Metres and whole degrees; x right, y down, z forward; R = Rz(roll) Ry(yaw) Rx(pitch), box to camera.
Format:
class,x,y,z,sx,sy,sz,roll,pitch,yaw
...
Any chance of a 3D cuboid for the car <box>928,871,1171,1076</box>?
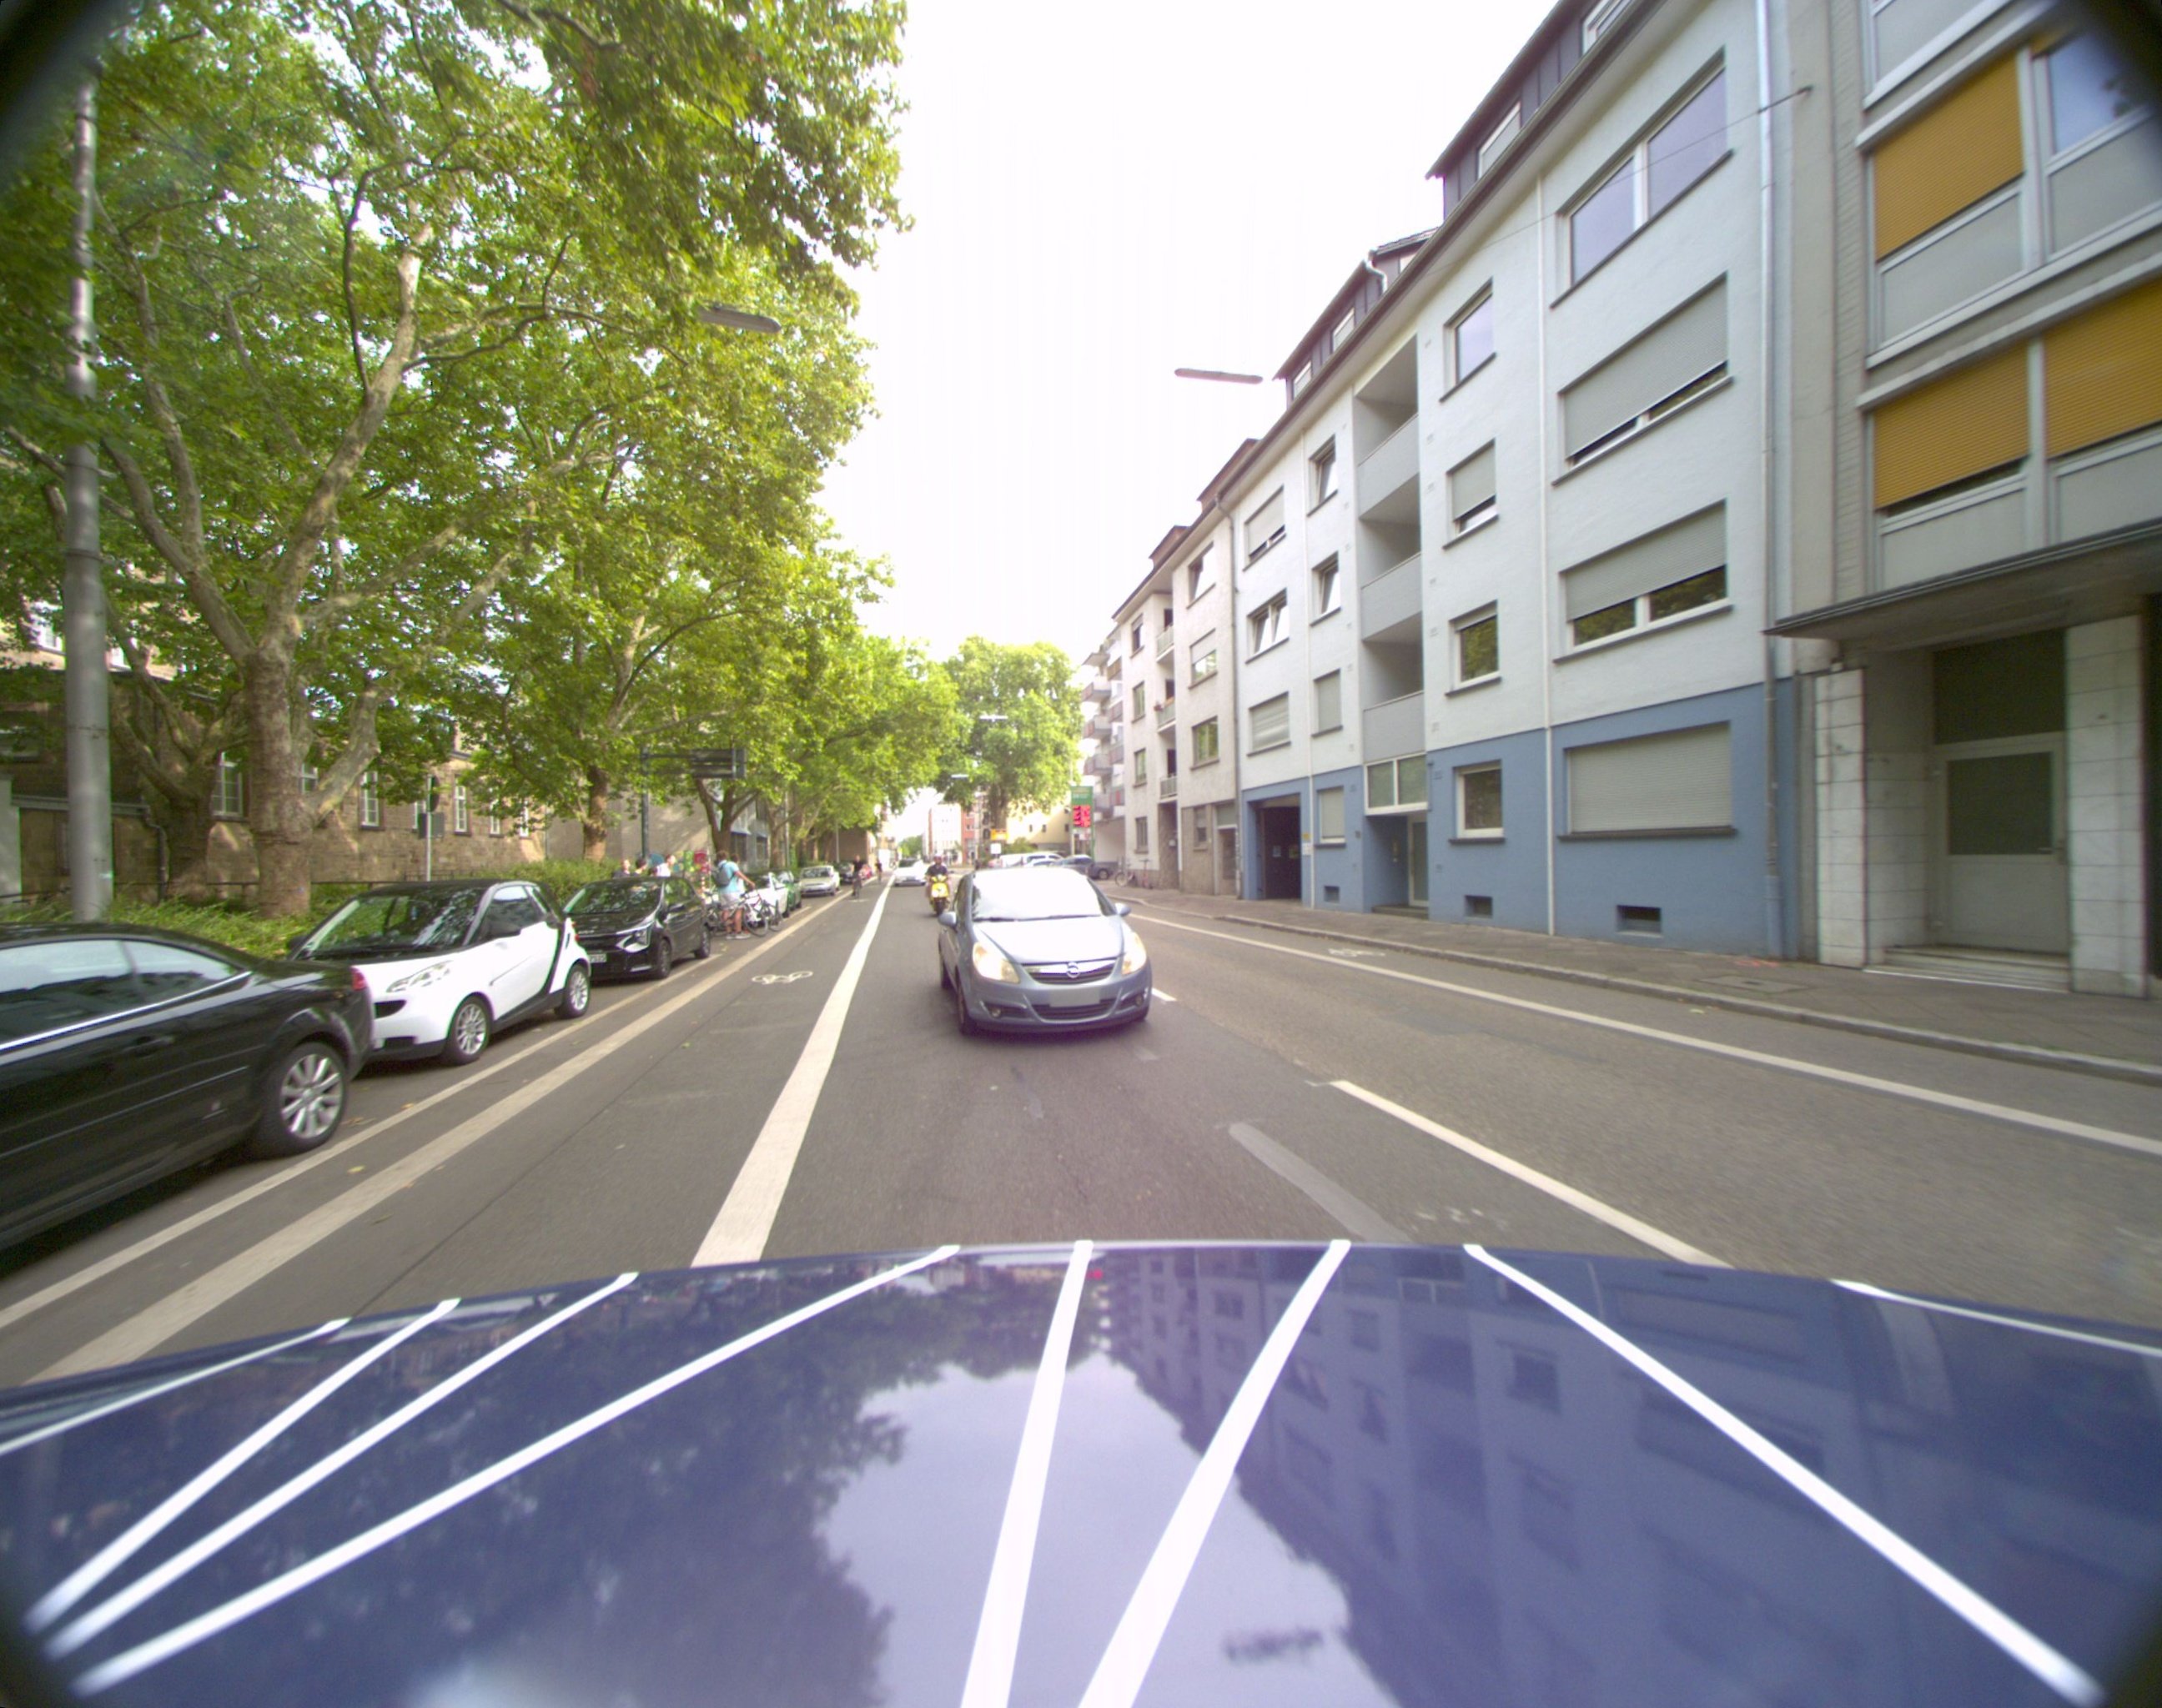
class,x,y,z,sx,sy,sz,roll,pitch,yaw
car,-0.625,0.955,8.008,1.719,1.412,4.248,-2,0,-14

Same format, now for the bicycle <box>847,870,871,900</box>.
class,x,y,z,sx,sy,sz,roll,pitch,yaw
bicycle,-9.389,1.276,32.178,0.764,1.162,1.947,-2,0,-13

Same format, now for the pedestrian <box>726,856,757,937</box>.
class,x,y,z,sx,sy,sz,roll,pitch,yaw
pedestrian,-7.979,0.985,17.848,0.522,1.834,0.743,-3,1,-28

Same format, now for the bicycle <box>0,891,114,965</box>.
class,x,y,z,sx,sy,sz,roll,pitch,yaw
bicycle,-16.850,1.176,12.117,1.681,1.111,0.603,0,0,-19

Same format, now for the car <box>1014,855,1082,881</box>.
class,x,y,z,sx,sy,sz,roll,pitch,yaw
car,-2.249,0.908,51.699,4.286,1.443,1.872,-4,1,-13

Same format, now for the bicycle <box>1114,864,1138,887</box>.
class,x,y,z,sx,sy,sz,roll,pitch,yaw
bicycle,1.993,0.952,33.964,0.599,0.945,1.661,-3,0,-13

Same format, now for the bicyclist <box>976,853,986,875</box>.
class,x,y,z,sx,sy,sz,roll,pitch,yaw
bicyclist,-8.310,0.826,63.340,0.654,1.800,1.044,-2,1,-13

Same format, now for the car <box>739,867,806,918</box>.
class,x,y,z,sx,sy,sz,roll,pitch,yaw
car,-10.389,1.241,25.820,1.593,1.441,3.800,-4,1,-15

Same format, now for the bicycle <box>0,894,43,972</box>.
class,x,y,z,sx,sy,sz,roll,pitch,yaw
bicycle,-16.466,1.171,11.158,1.451,1.111,0.468,0,0,-16

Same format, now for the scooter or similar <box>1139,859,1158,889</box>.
class,x,y,z,sx,sy,sz,roll,pitch,yaw
scooter or similar,2.782,0.819,31.373,0.351,1.214,1.200,-3,1,-13

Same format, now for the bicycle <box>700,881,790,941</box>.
class,x,y,z,sx,sy,sz,roll,pitch,yaw
bicycle,-7.771,1.294,17.617,1.797,1.210,0.552,-3,1,-30

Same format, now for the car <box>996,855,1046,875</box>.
class,x,y,z,sx,sy,sz,roll,pitch,yaw
car,-5.582,0.979,70.348,4.280,1.502,1.717,-4,1,-12

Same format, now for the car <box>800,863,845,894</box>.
class,x,y,z,sx,sy,sz,roll,pitch,yaw
car,-14.028,1.302,41.435,1.760,1.439,4.213,-3,1,-13

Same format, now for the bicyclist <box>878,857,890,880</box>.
class,x,y,z,sx,sy,sz,roll,pitch,yaw
bicyclist,-13.930,1.030,53.715,0.749,1.590,0.818,-2,1,-13

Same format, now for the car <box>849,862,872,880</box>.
class,x,y,z,sx,sy,sz,roll,pitch,yaw
car,-20.243,1.495,69.874,1.604,1.496,4.435,-3,1,-13

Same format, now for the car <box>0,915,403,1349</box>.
class,x,y,z,sx,sy,sz,roll,pitch,yaw
car,-4.907,1.155,2.836,1.704,1.417,4.416,-3,1,-16

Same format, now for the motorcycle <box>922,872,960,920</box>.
class,x,y,z,sx,sy,sz,roll,pitch,yaw
motorcycle,-3.935,1.129,21.217,0.905,1.190,2.627,-2,0,-12

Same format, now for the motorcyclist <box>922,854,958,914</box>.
class,x,y,z,sx,sy,sz,roll,pitch,yaw
motorcyclist,-3.938,0.827,21.219,0.905,1.608,0.690,-2,1,-13

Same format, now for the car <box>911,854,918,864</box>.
class,x,y,z,sx,sy,sz,roll,pitch,yaw
car,-47.493,1.415,216.601,2.001,2.546,4.793,-2,0,-13

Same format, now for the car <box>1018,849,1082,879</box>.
class,x,y,z,sx,sy,sz,roll,pitch,yaw
car,-2.244,0.681,54.467,4.226,1.837,1.922,-4,1,-13

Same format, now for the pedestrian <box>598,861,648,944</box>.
class,x,y,z,sx,sy,sz,roll,pitch,yaw
pedestrian,-10.530,1.097,17.481,0.723,1.844,0.703,-3,1,-13

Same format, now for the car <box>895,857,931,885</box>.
class,x,y,z,sx,sy,sz,roll,pitch,yaw
car,-10.354,1.018,46.619,2.002,1.556,4.545,-2,0,-13

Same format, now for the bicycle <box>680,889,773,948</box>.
class,x,y,z,sx,sy,sz,roll,pitch,yaw
bicycle,-7.597,1.358,16.355,1.742,1.099,0.551,-3,1,-24

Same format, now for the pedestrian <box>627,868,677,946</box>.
class,x,y,z,sx,sy,sz,roll,pitch,yaw
pedestrian,-9.475,1.144,16.809,0.723,1.648,0.654,-3,1,-13

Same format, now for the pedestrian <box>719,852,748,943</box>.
class,x,y,z,sx,sy,sz,roll,pitch,yaw
pedestrian,-7.601,0.942,16.630,0.477,1.923,0.743,-3,1,-24

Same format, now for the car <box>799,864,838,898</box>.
class,x,y,z,sx,sy,sz,roll,pitch,yaw
car,-12.757,1.285,37.103,1.649,1.439,3.877,-3,1,-18

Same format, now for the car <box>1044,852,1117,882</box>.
class,x,y,z,sx,sy,sz,roll,pitch,yaw
car,-0.037,0.792,47.439,4.165,1.505,1.835,-4,1,-13

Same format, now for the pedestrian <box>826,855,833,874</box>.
class,x,y,z,sx,sy,sz,roll,pitch,yaw
pedestrian,-23.752,0.992,71.733,0.503,1.775,0.527,2,0,-14

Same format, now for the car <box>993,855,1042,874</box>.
class,x,y,z,sx,sy,sz,roll,pitch,yaw
car,-6.053,0.977,72.347,4.377,1.540,1.731,-4,1,-12

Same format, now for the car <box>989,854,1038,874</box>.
class,x,y,z,sx,sy,sz,roll,pitch,yaw
car,-6.654,0.977,74.581,4.534,1.596,1.752,-4,1,-12

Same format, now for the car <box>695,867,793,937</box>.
class,x,y,z,sx,sy,sz,roll,pitch,yaw
car,-9.012,1.197,20.681,1.687,1.507,4.538,-4,1,-15

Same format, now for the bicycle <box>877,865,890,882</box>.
class,x,y,z,sx,sy,sz,roll,pitch,yaw
bicycle,-13.924,1.382,53.710,0.764,1.162,1.947,-2,0,-13

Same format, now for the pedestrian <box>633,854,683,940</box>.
class,x,y,z,sx,sy,sz,roll,pitch,yaw
pedestrian,-10.140,1.016,18.237,0.796,1.986,0.749,-3,1,-13

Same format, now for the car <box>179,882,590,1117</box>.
class,x,y,z,sx,sy,sz,roll,pitch,yaw
car,-5.978,1.111,6.943,1.541,1.534,2.596,-3,1,-10

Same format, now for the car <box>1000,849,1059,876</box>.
class,x,y,z,sx,sy,sz,roll,pitch,yaw
car,-4.328,0.703,63.457,4.632,1.848,1.948,-4,1,-12

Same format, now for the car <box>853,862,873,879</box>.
class,x,y,z,sx,sy,sz,roll,pitch,yaw
car,-21.412,1.611,74.841,1.604,1.438,4.100,-3,1,-13

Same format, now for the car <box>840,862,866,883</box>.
class,x,y,z,sx,sy,sz,roll,pitch,yaw
car,-17.999,1.444,60.137,1.645,1.424,4.568,-3,1,-13

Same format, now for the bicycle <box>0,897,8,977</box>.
class,x,y,z,sx,sy,sz,roll,pitch,yaw
bicycle,-15.766,1.158,10.211,1.545,1.111,0.468,0,0,-20

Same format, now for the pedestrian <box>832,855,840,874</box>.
class,x,y,z,sx,sy,sz,roll,pitch,yaw
pedestrian,-23.129,0.983,71.668,0.593,1.775,0.475,2,0,-14

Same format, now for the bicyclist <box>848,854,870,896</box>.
class,x,y,z,sx,sy,sz,roll,pitch,yaw
bicyclist,-9.420,0.886,32.276,0.765,1.699,0.916,-2,1,-13

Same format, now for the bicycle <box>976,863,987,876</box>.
class,x,y,z,sx,sy,sz,roll,pitch,yaw
bicycle,-8.325,1.321,63.473,0.648,1.008,2.074,-2,1,-13

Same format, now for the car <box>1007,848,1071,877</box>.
class,x,y,z,sx,sy,sz,roll,pitch,yaw
car,-3.386,0.669,61.146,4.783,1.923,1.991,-4,1,-12

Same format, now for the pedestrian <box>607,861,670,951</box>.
class,x,y,z,sx,sy,sz,roll,pitch,yaw
pedestrian,-9.322,1.071,16.046,0.874,1.806,0.779,-3,1,-13

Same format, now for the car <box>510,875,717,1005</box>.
class,x,y,z,sx,sy,sz,roll,pitch,yaw
car,-6.906,1.147,11.652,1.533,1.493,3.656,-3,1,-13

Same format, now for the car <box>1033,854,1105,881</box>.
class,x,y,z,sx,sy,sz,roll,pitch,yaw
car,-0.805,0.843,49.689,4.315,1.443,1.908,-4,1,-13

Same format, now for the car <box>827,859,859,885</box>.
class,x,y,z,sx,sy,sz,roll,pitch,yaw
car,-16.982,1.254,54.409,1.928,1.612,4.475,-3,1,-15
